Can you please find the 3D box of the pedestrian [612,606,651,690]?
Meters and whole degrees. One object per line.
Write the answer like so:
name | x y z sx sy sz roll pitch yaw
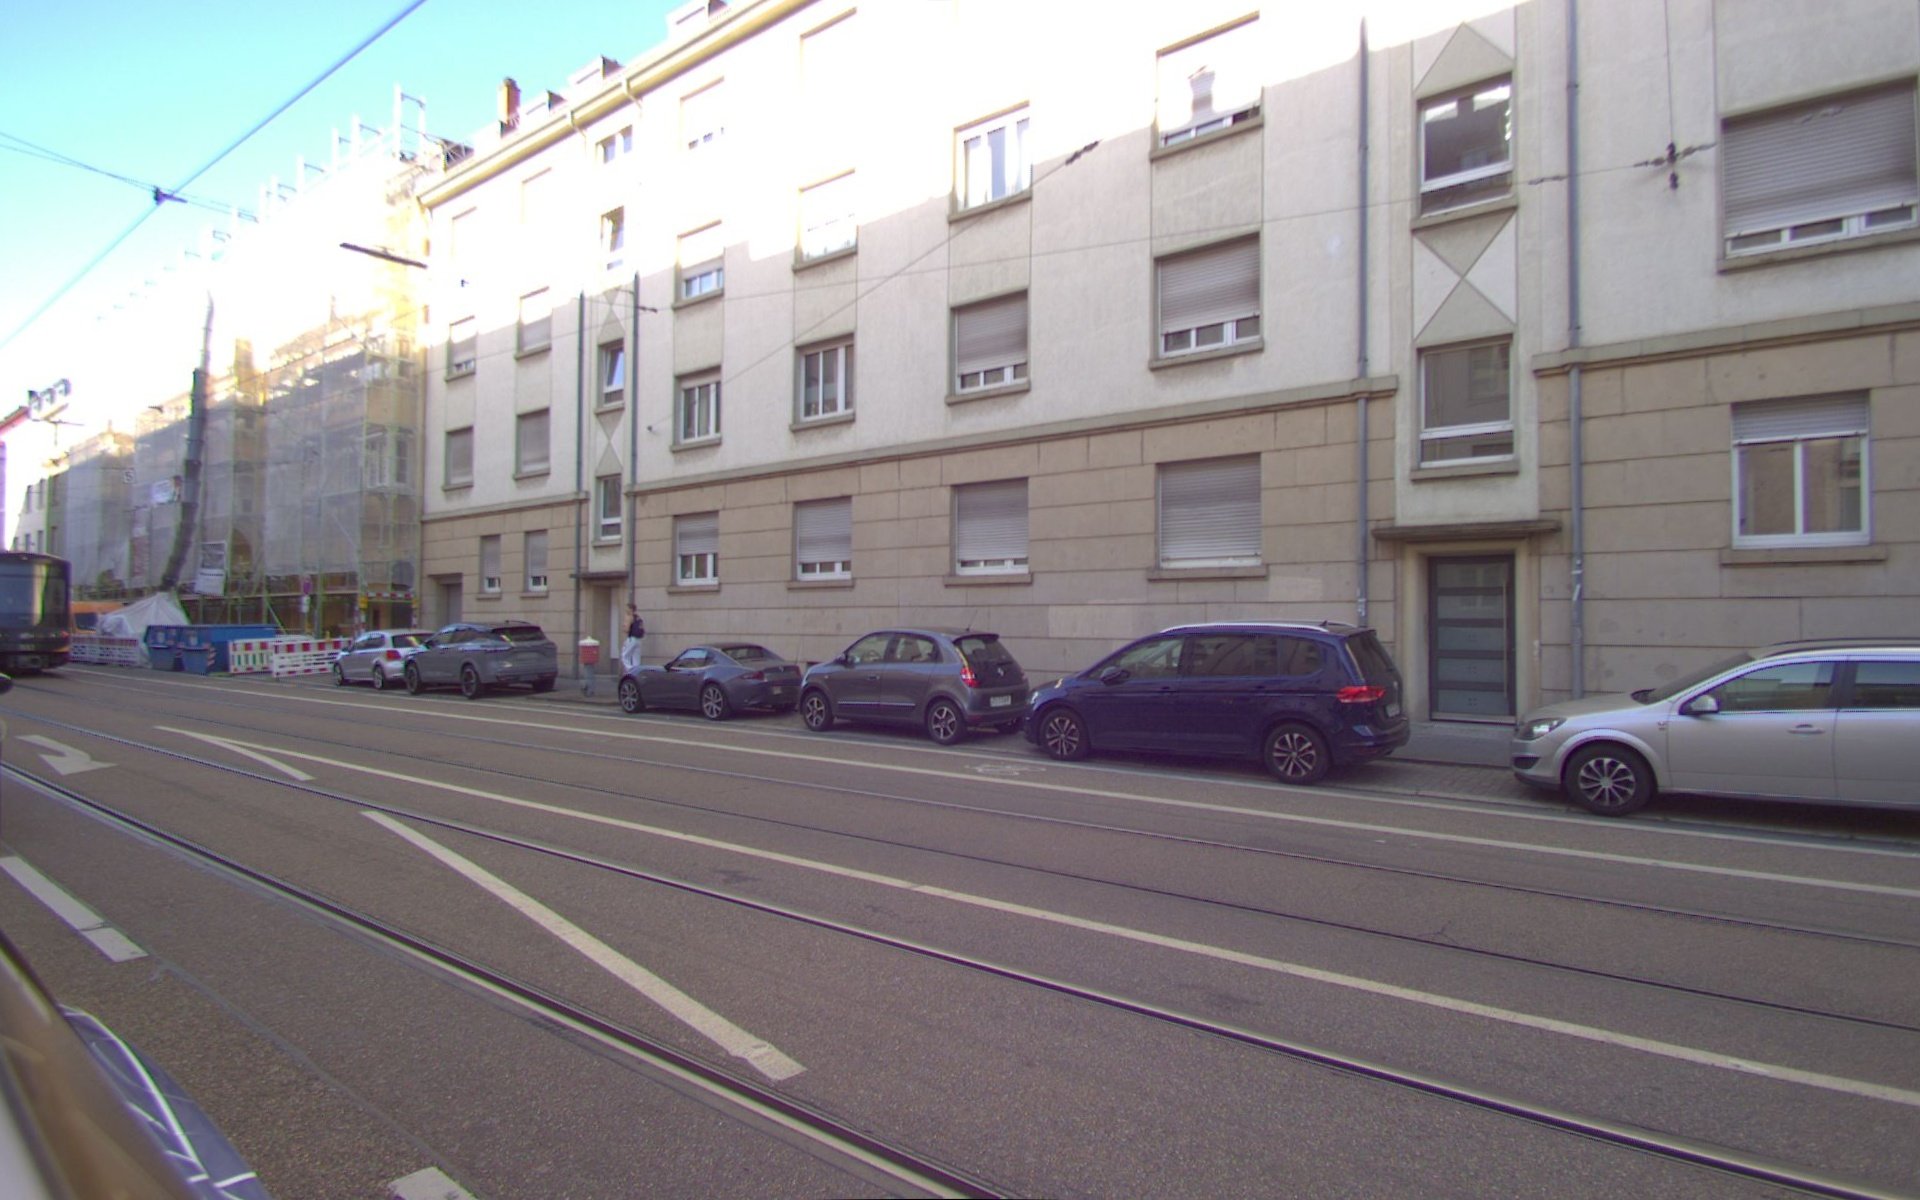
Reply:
pedestrian | -7.556 1.086 23.284 0.762 1.886 0.513 -1 0 38

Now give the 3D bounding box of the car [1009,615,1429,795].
car | 2.857 1.029 11.632 4.318 1.645 1.798 -1 1 37

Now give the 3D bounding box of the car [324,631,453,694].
car | -14.398 1.521 25.453 3.502 1.390 1.546 -1 1 37

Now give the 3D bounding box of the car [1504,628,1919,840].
car | 7.118 1.015 8.415 4.363 1.465 1.709 -1 1 37

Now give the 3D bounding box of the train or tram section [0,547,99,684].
train or tram section | -29.872 0.481 30.895 13.024 3.589 2.832 -1 -2 38

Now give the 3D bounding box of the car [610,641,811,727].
car | -4.346 1.375 17.445 3.518 1.229 1.458 -1 1 37

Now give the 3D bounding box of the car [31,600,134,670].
car | -36.462 1.397 41.992 5.866 2.717 2.188 -1 0 39

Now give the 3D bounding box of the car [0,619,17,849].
car | -7.955 0.876 6.950 3.814 1.436 1.706 -2 -3 40

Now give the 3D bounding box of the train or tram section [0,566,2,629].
train or tram section | -40.269 0.616 39.002 13.315 3.589 2.832 -1 -2 38

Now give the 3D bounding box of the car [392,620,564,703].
car | -10.818 1.304 22.631 4.152 1.621 1.731 -1 1 37

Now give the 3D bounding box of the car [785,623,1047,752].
car | -0.695 1.150 14.629 3.591 1.570 1.624 -1 1 38
